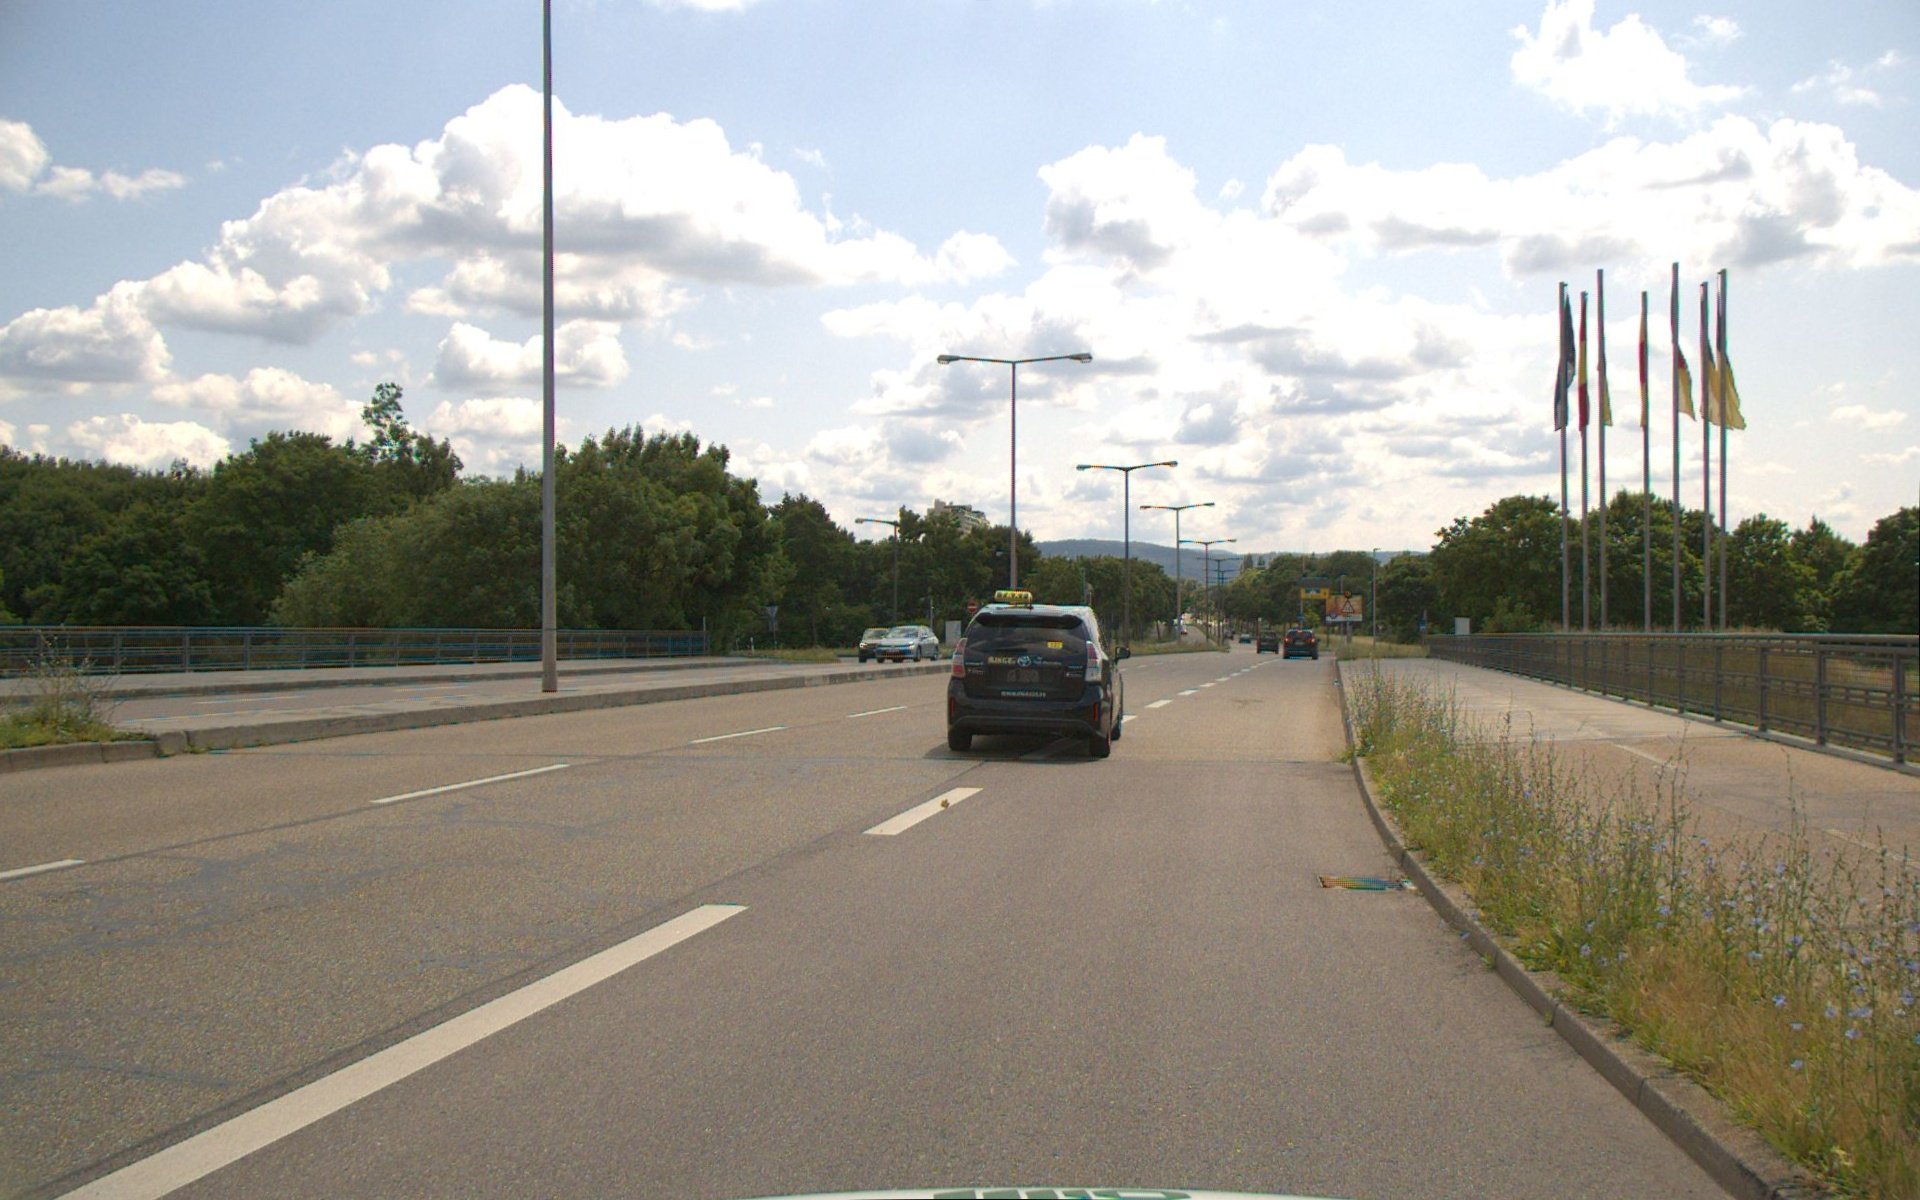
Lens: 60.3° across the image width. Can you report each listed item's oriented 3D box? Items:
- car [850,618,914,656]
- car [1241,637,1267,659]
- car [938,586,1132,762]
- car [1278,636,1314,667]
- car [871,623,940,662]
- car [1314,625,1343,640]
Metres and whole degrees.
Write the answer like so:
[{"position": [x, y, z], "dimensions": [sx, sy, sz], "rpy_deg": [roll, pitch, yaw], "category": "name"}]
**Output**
[{"position": [-3.703, 1.752, 79.578], "dimensions": [2.043, 1.655, 4.553], "rpy_deg": [1, 0, 11], "category": "car"}, {"position": [24.096, 3.938, 135.628], "dimensions": [1.951, 1.691, 4.003], "rpy_deg": [1, 0, 9], "category": "car"}, {"position": [0.953, 0.740, 18.594], "dimensions": [1.741, 1.713, 4.003], "rpy_deg": [1, 0, 8], "category": "car"}, {"position": [20.193, 3.080, 99.531], "dimensions": [1.951, 1.691, 4.003], "rpy_deg": [1, 0, 9], "category": "car"}, {"position": [-2.186, 1.697, 67.460], "dimensions": [1.628, 1.438, 4.553], "rpy_deg": [-2, -1, 14], "category": "car"}, {"position": [43.548, 3.857, 195.694], "dimensions": [1.957, 1.691, 3.991], "rpy_deg": [1, 0, -10], "category": "car"}]
